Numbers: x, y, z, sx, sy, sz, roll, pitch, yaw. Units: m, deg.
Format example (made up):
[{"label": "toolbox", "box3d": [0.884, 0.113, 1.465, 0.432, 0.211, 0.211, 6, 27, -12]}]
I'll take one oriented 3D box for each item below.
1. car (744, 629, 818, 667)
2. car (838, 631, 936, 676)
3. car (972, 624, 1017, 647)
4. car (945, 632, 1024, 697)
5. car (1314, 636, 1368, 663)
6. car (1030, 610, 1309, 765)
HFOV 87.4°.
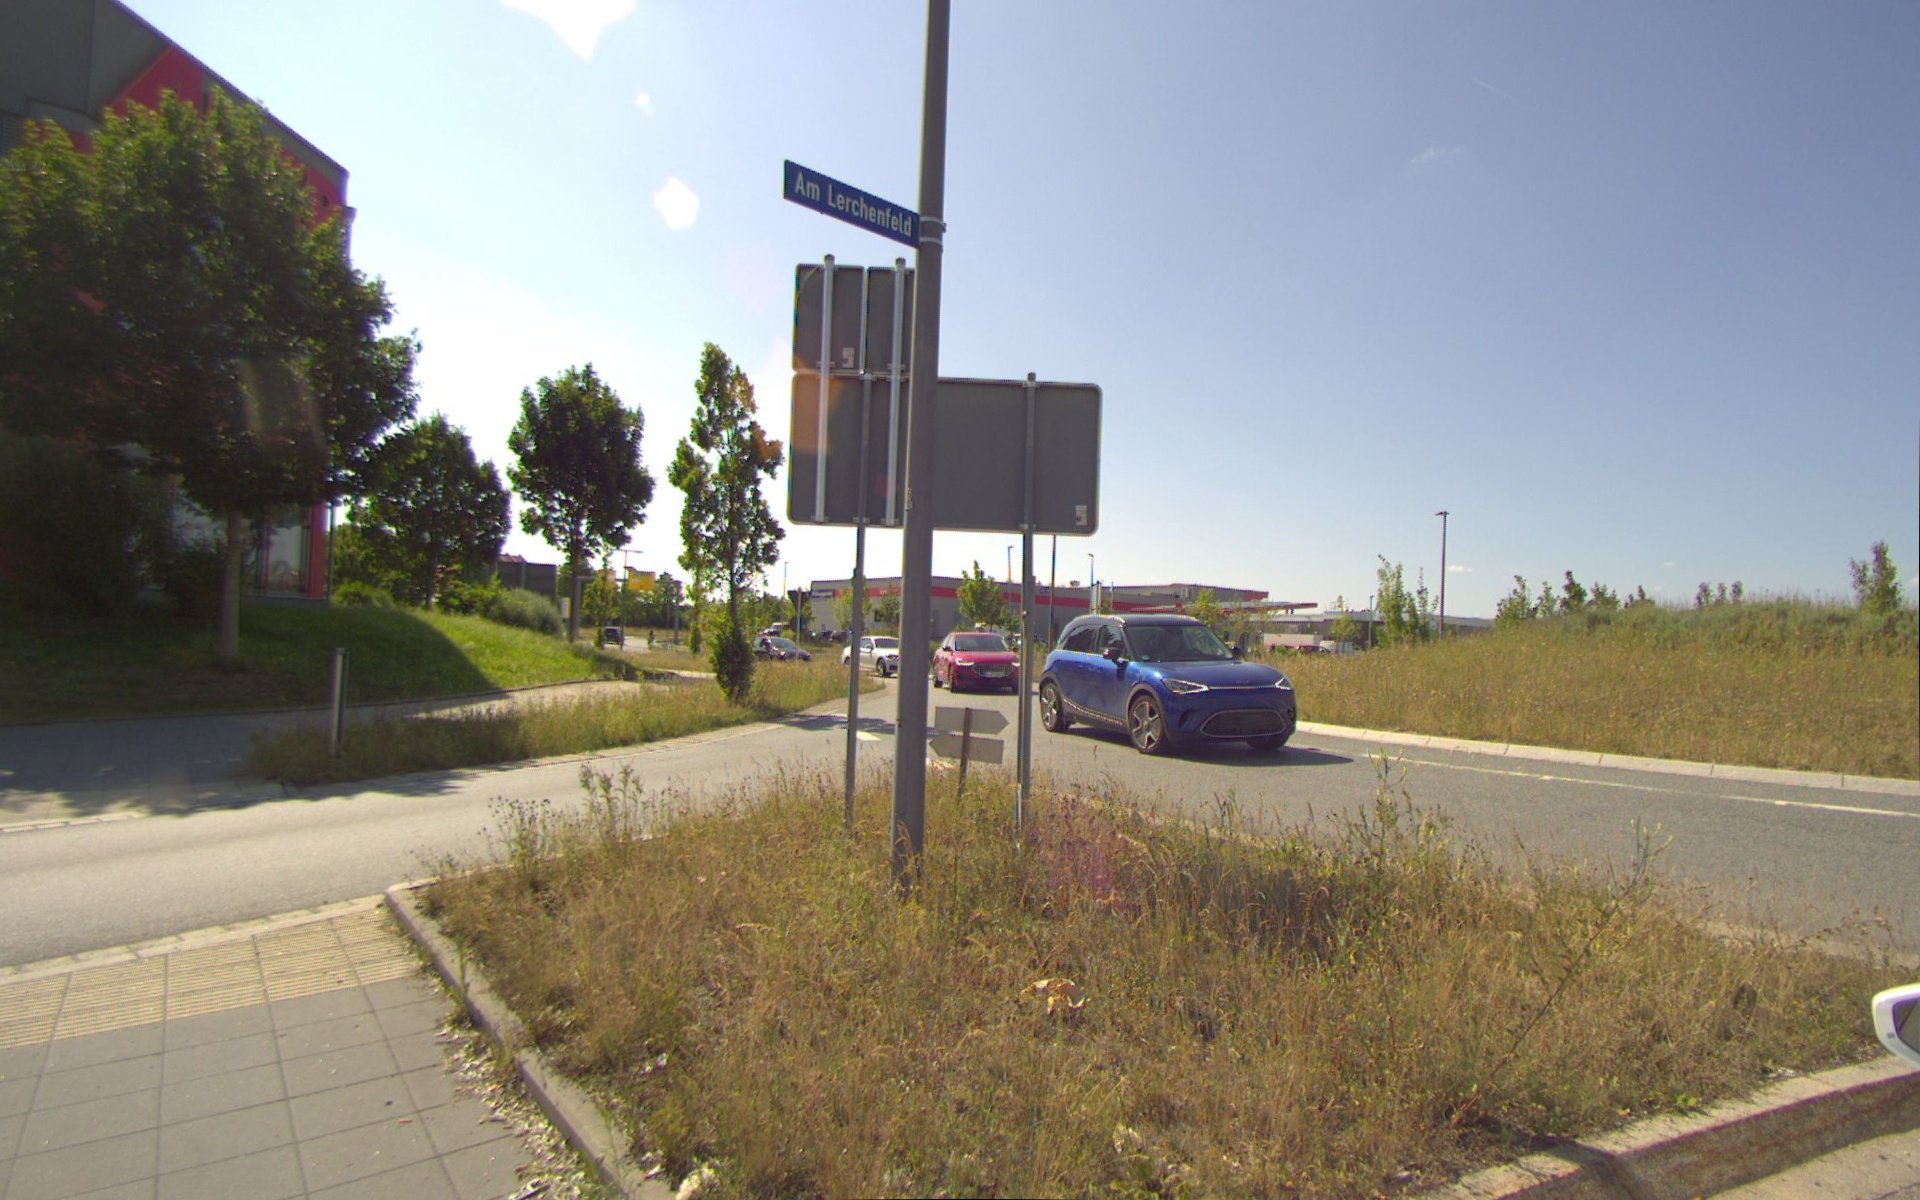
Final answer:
[{"label": "car", "box3d": [-7.731, 2.048, 43.191, 1.629, 1.507, 3.865, 2, -1, -36]}, {"label": "car", "box3d": [-2.669, 1.877, 35.676, 1.776, 1.434, 4.348, 3, -3, -29]}, {"label": "car", "box3d": [3.265, 3.380, 95.252, 3.969, 2.040, 1.976, 3, -3, -41]}, {"label": "car", "box3d": [0.560, 1.576, 25.239, 1.773, 1.434, 4.118, 2, -2, 0]}, {"label": "car", "box3d": [31.776, 4.169, 83.749, 5.095, 2.040, 1.977, 4, -3, -40]}, {"label": "car", "box3d": [2.474, 0.987, 12.966, 1.827, 1.657, 4.066, 1, -1, -17]}]
